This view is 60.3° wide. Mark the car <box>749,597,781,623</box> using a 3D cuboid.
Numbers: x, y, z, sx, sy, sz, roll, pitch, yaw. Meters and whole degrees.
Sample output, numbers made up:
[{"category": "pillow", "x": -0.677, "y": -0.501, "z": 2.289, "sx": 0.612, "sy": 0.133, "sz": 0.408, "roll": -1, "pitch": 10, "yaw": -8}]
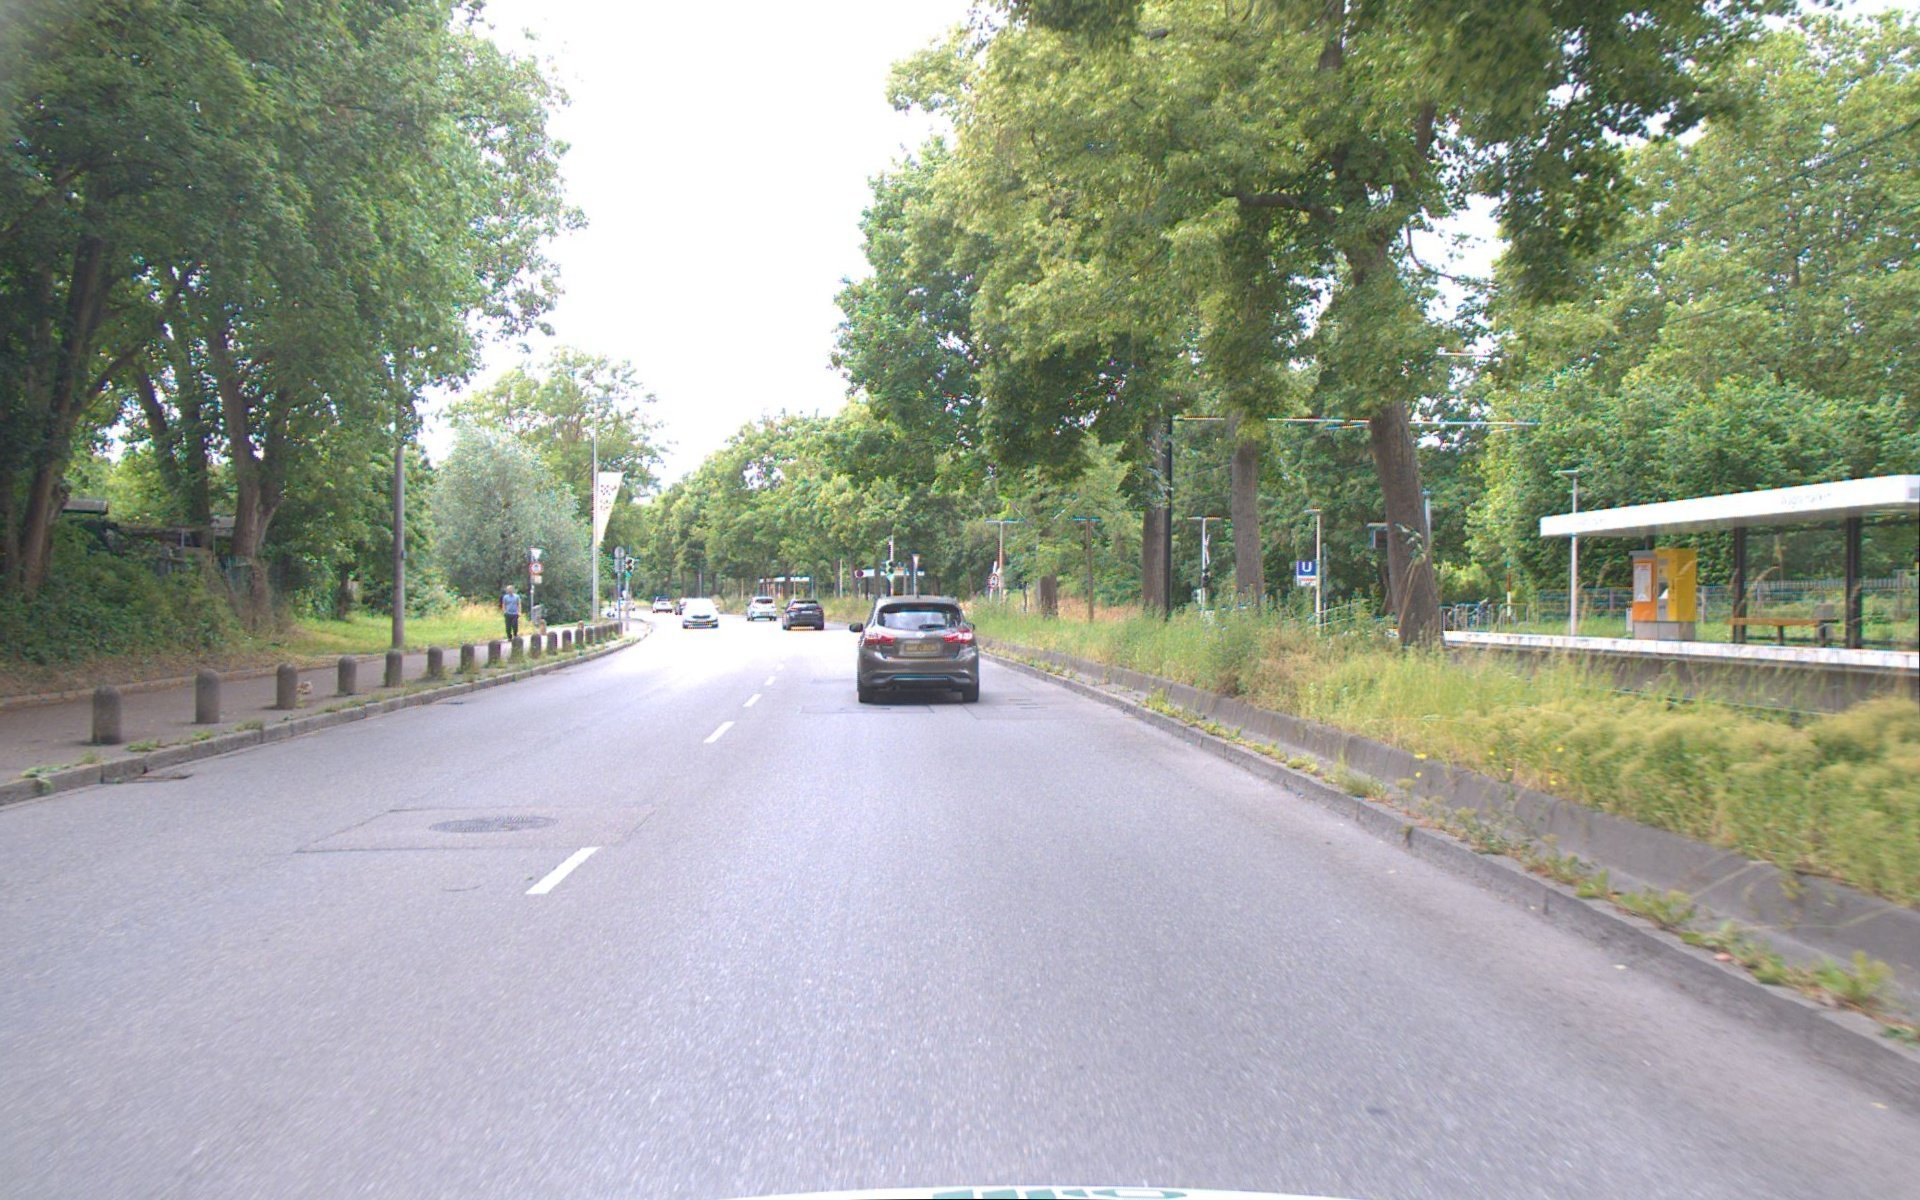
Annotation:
[{"category": "car", "x": -12.281, "y": 0.622, "z": 104.107, "sx": 1.743, "sy": 1.498, "sz": 3.991, "roll": 2, "pitch": 0, "yaw": -9}]

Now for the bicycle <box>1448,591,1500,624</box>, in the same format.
[{"category": "bicycle", "x": 16.056, "y": 0.239, "z": 51.709, "sx": 1.480, "sy": 0.990, "sz": 0.449, "roll": 2, "pitch": 0, "yaw": -9}]

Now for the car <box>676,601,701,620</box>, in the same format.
[{"category": "car", "x": -23.196, "y": 0.923, "z": 141.154, "sx": 1.746, "sy": 1.498, "sz": 3.984, "roll": 3, "pitch": 0, "yaw": -15}]

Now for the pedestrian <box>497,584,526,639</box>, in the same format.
[{"category": "pedestrian", "x": -13.687, "y": 0.353, "z": 50.520, "sx": 0.676, "sy": 1.663, "sz": 0.837, "roll": 2, "pitch": 0, "yaw": -5}]

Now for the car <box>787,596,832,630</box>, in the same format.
[{"category": "car", "x": -6.998, "y": 0.600, "z": 77.166, "sx": 1.740, "sy": 1.498, "sz": 3.999, "roll": 2, "pitch": 0, "yaw": -1}]

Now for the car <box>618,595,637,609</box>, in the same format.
[{"category": "car", "x": -35.802, "y": 0.199, "z": 177.959, "sx": 1.747, "sy": 1.498, "sz": 3.984, "roll": 2, "pitch": 0, "yaw": -15}]

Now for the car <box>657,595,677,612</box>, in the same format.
[{"category": "car", "x": -27.919, "y": 0.331, "z": 157.439, "sx": 1.745, "sy": 1.498, "sz": 3.988, "roll": 1, "pitch": 0, "yaw": -12}]

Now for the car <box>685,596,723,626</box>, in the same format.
[{"category": "car", "x": -13.208, "y": 0.529, "z": 85.379, "sx": 1.739, "sy": 1.464, "sz": 4.355, "roll": -1, "pitch": 0, "yaw": -7}]

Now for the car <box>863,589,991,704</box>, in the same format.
[{"category": "car", "x": -0.501, "y": 0.635, "z": 25.147, "sx": 1.779, "sy": 1.534, "sz": 4.000, "roll": -1, "pitch": 1, "yaw": -1}]
